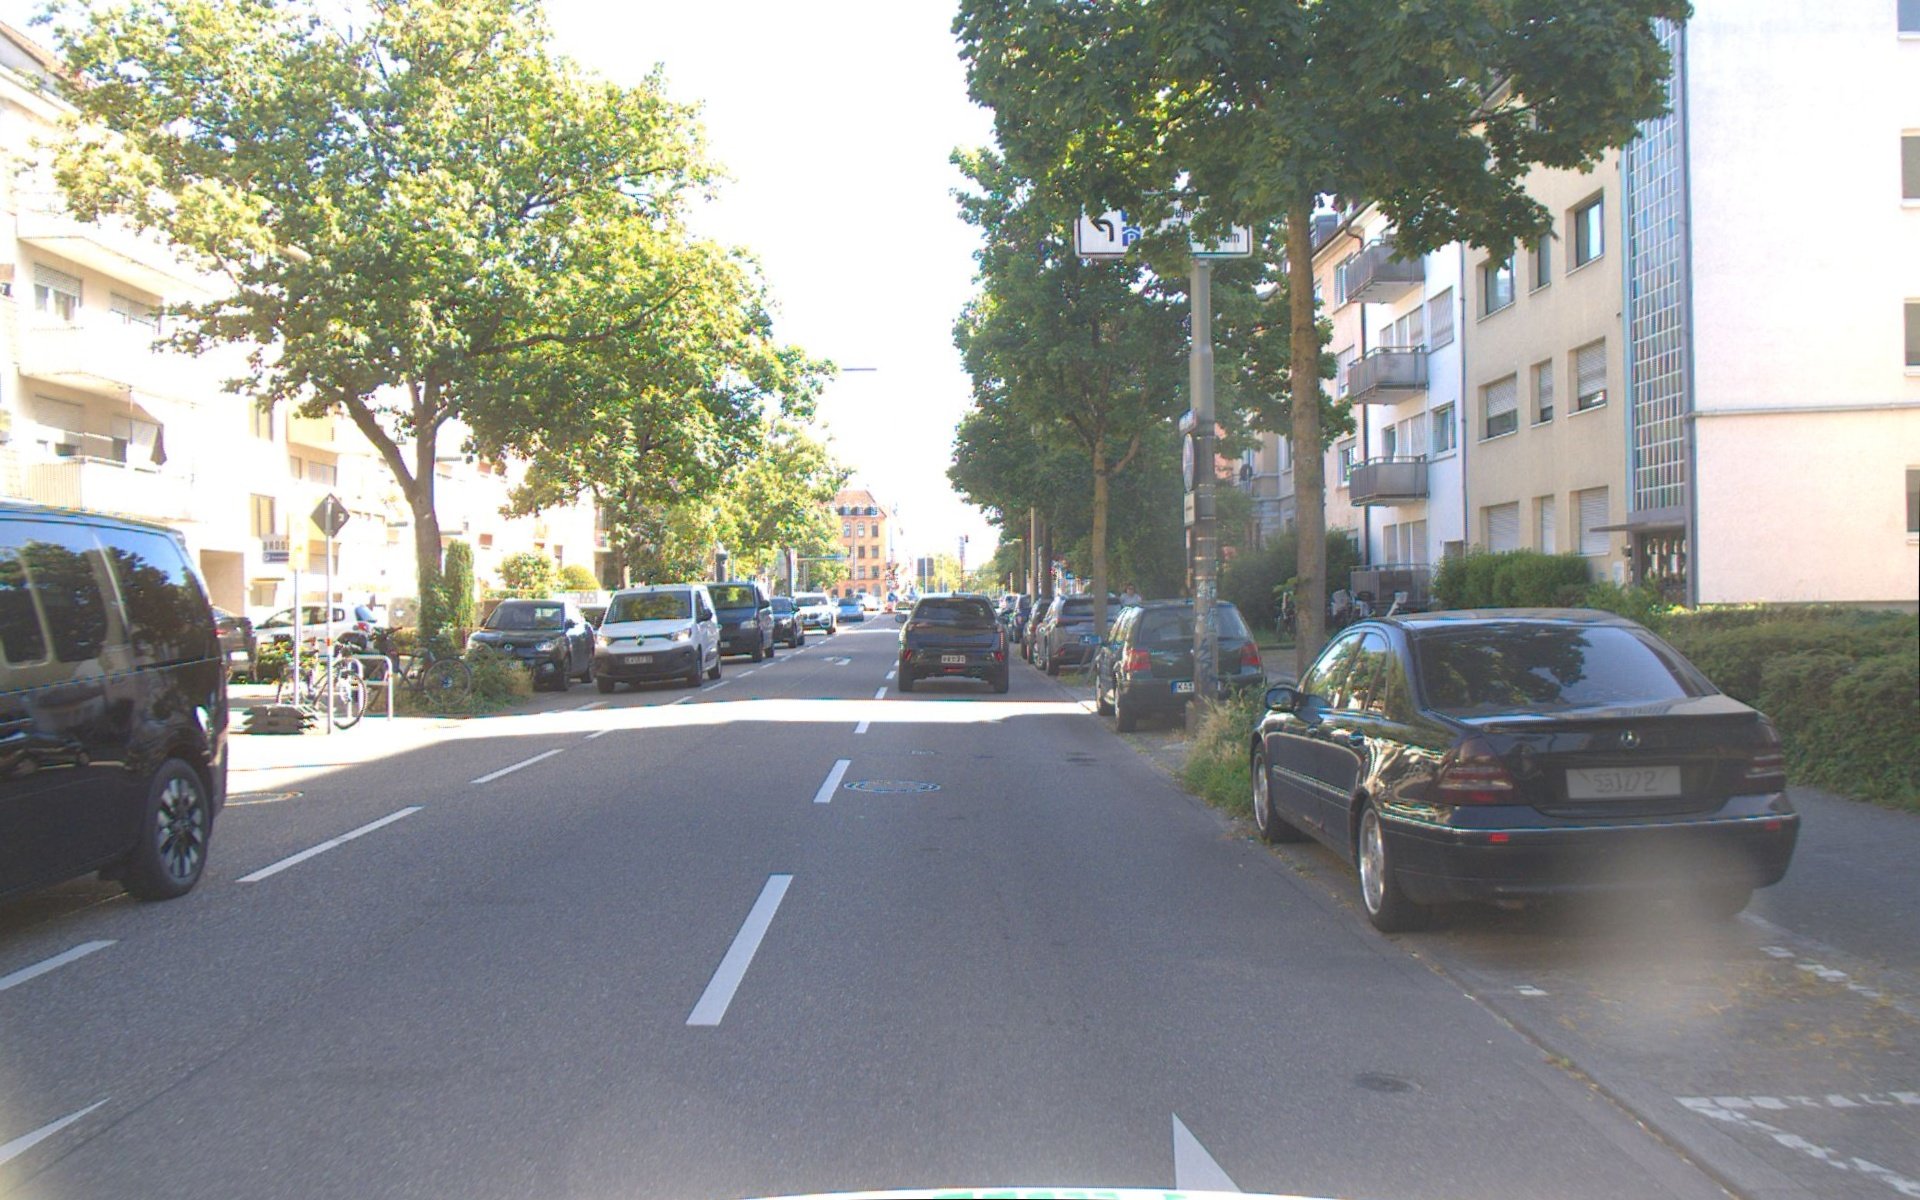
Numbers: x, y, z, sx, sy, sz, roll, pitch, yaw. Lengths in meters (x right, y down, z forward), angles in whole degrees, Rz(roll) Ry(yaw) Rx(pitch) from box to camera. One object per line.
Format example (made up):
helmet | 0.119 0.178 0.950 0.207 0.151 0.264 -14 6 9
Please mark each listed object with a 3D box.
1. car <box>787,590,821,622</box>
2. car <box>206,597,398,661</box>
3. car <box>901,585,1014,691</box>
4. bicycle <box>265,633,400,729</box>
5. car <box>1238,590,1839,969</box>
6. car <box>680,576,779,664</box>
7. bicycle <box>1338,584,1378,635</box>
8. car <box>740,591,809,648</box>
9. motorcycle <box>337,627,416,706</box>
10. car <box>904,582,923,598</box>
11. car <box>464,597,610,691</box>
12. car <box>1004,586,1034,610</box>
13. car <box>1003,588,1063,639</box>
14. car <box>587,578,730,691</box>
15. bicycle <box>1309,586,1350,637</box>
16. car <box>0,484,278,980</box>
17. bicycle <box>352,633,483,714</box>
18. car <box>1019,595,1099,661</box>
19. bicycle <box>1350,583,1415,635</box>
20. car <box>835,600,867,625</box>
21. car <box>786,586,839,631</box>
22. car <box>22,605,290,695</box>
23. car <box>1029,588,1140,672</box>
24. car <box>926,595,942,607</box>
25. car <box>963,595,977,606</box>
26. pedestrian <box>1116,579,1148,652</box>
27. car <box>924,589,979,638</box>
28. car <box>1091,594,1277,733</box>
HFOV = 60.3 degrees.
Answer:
car | -9.299 0.329 98.991 1.782 1.866 4.560 -1 0 -3
car | -15.958 0.688 40.257 3.906 1.512 1.880 0 1 -2
car | -0.066 0.582 27.035 1.710 1.601 3.557 0 0 -1
bicycle | -8.061 1.020 21.219 1.893 1.155 0.462 0 0 27
car | 2.649 0.695 8.727 1.554 1.420 4.453 -2 0 0
car | -5.629 0.447 40.833 1.767 1.944 4.711 -3 0 -1
bicycle | 10.692 0.237 44.433 0.579 1.309 1.689 -4 0 -1
car | -5.784 0.572 51.889 1.684 1.593 4.341 -3 0 -1
motorcycle | -9.089 1.017 25.819 0.451 1.145 1.718 0 1 7
car | -4.580 -0.959 162.816 1.735 1.478 3.886 -1 0 1
car | -7.761 0.761 30.690 1.687 1.624 4.135 0 0 -1
car | 3.907 -0.147 109.410 1.792 1.478 3.987 -1 0 0
car | 2.342 0.417 53.765 1.528 1.541 3.652 -3 0 -3
car | -5.328 0.566 29.774 1.779 1.773 4.492 -3 0 -2
bicycle | 9.926 0.297 44.477 0.610 1.309 1.842 -4 0 -1
car | -4.852 0.567 6.832 1.976 1.986 5.176 -3 0 -2
bicycle | -7.896 1.059 24.063 1.982 1.111 0.462 0 0 22
car | 2.258 0.616 38.436 1.579 1.407 3.976 -1 0 0
bicycle | 10.865 0.246 42.543 1.506 1.244 0.463 -4 0 30
car | -6.629 0.742 100.858 1.702 1.405 3.935 -2 1 -2
car | -6.022 0.337 67.963 1.770 1.676 4.671 -3 0 -2
car | -14.066 0.849 29.035 3.902 1.486 1.734 0 1 8
car | 2.385 0.547 32.731 1.680 1.515 4.232 -1 0 -2
car | -3.193 0.148 201.677 1.773 1.431 4.001 -1 0 2
car | 1.458 0.149 243.082 1.952 1.546 4.000 2 0 1
pedestrian | 4.106 0.366 39.514 0.656 1.711 0.775 -1 0 -1
car | -0.289 0.443 57.337 1.793 1.606 3.839 -1 0 0
car | 2.571 0.677 19.819 1.657 1.453 4.147 -1 0 0
